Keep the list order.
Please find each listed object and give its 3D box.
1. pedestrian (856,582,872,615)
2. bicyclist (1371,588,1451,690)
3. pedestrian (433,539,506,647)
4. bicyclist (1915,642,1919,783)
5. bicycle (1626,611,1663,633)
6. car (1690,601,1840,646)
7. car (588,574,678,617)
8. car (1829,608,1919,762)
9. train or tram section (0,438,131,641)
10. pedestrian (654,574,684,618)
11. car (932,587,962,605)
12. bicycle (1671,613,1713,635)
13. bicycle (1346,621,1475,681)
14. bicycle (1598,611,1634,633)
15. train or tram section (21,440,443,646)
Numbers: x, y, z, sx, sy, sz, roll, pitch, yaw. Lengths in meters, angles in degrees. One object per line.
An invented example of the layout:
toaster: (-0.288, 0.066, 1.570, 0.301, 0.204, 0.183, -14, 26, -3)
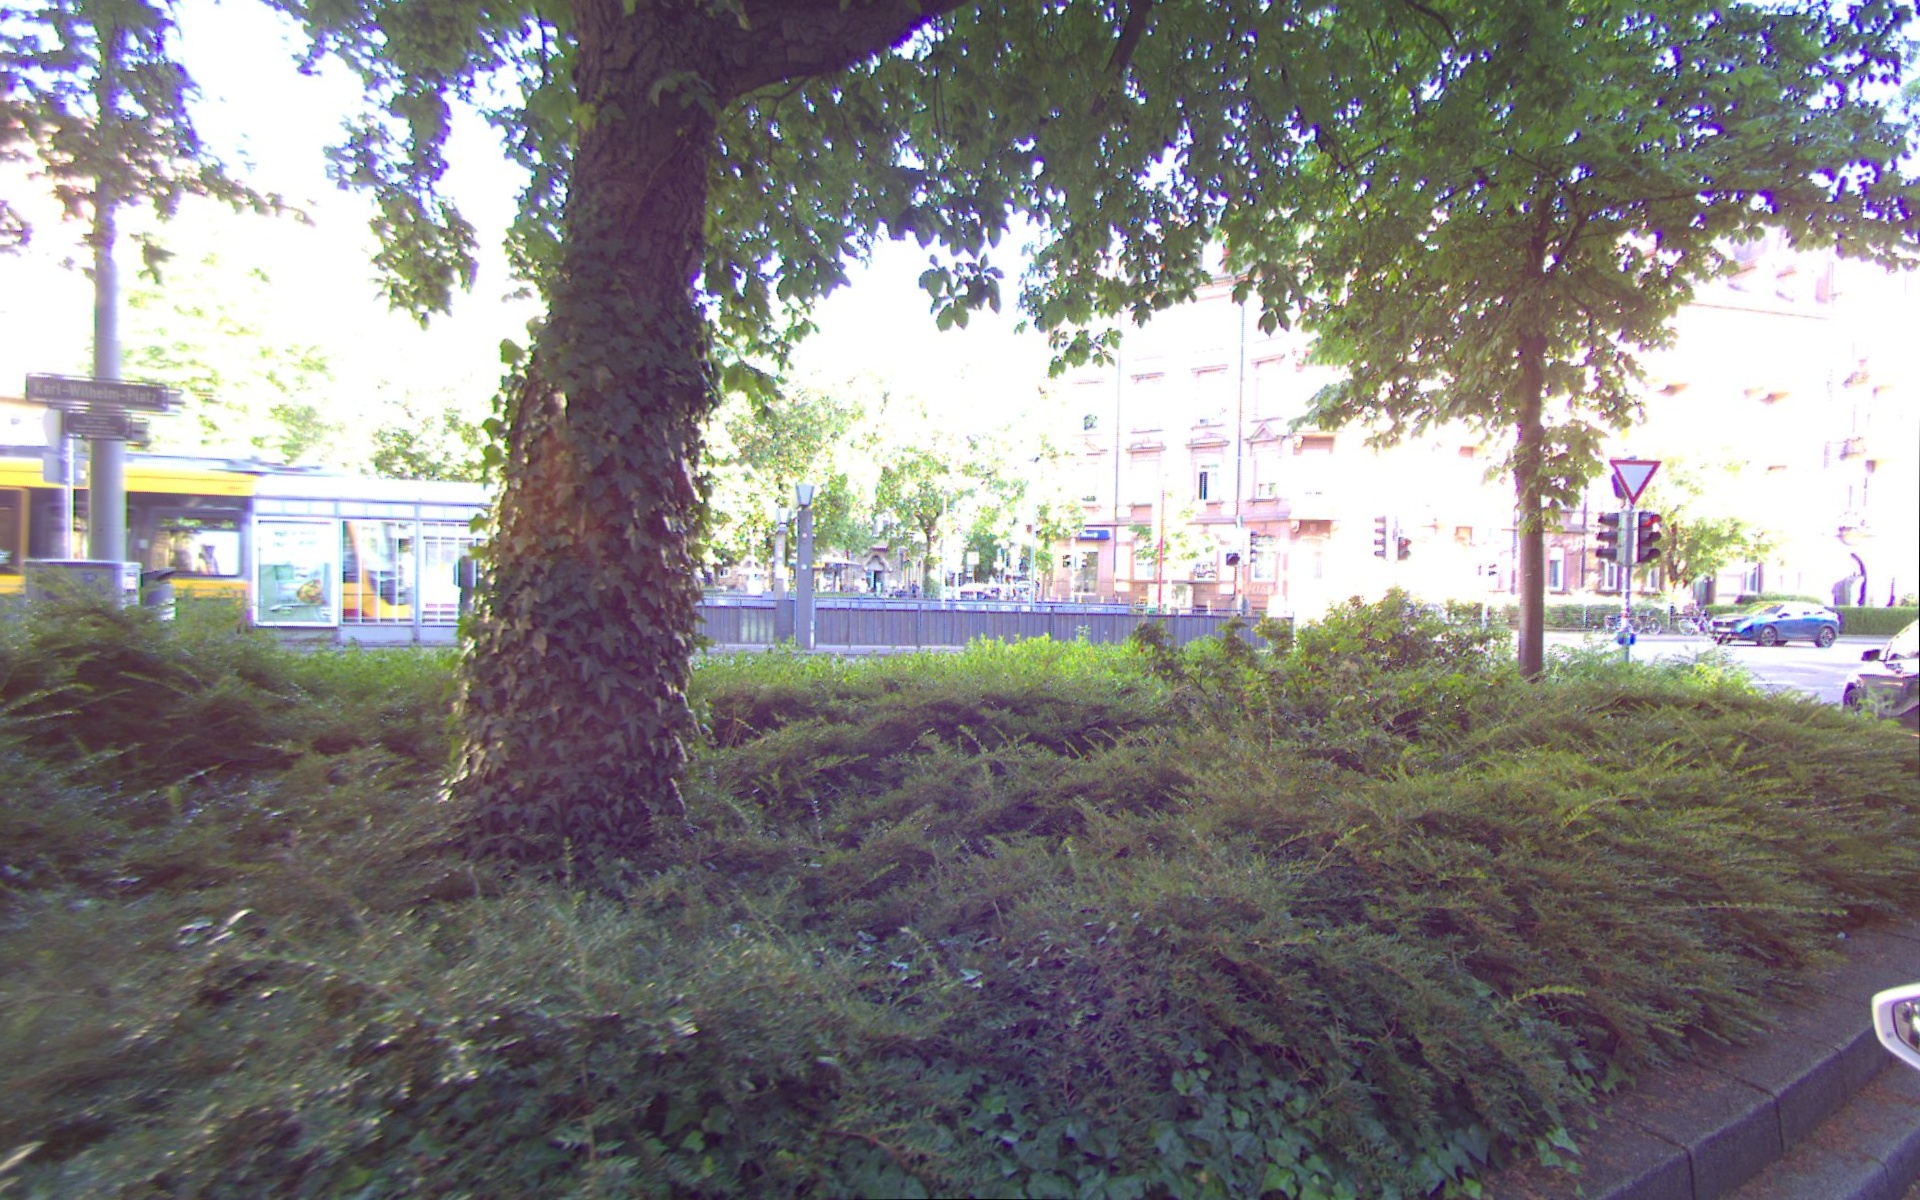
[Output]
pedestrian: (-6.107, -0.091, 63.857, 0.789, 2.041, 0.569, 1, 1, -29)
bicyclist: (7.910, 0.677, 17.632, 1.028, 1.739, 0.695, 1, 1, -10)
pedestrian: (-9.075, -0.126, 18.626, 1.002, 1.923, 0.910, 1, 1, -13)
bicyclist: (8.125, 0.569, 7.723, 0.838, 1.924, 1.137, 1, 1, 30)
bicycle: (29.050, 0.921, 42.653, 1.199, 0.873, 0.450, 2, 1, 4)
car: (29.858, 0.858, 37.311, 4.297, 1.516, 1.996, 1, 1, -11)
car: (-15.333, -0.228, 47.264, 3.935, 1.896, 1.993, 1, 1, -17)
car: (10.872, 0.870, 10.475, 1.785, 1.564, 3.954, 0, -1, 26)
train or tram section: (-20.891, -1.182, 18.829, 7.724, 3.663, 2.914, 1, 1, -13)
pedestrian: (-10.788, -0.147, 37.245, 0.796, 1.564, 0.820, 3, 1, -2)
car: (-1.184, -0.381, 94.674, 1.730, 1.629, 4.001, 2, 1, 15)
bicycle: (31.417, 1.024, 43.121, 1.417, 0.873, 0.450, 2, 1, 4)
bicycle: (7.900, 0.891, 17.644, 1.946, 0.971, 0.769, 1, 1, -10)
bicycle: (27.866, 0.926, 42.659, 1.199, 0.873, 0.450, 2, 1, 4)
train or tram section: (-14.356, -1.037, 20.406, 6.238, 3.690, 2.914, 1, 1, -13)
